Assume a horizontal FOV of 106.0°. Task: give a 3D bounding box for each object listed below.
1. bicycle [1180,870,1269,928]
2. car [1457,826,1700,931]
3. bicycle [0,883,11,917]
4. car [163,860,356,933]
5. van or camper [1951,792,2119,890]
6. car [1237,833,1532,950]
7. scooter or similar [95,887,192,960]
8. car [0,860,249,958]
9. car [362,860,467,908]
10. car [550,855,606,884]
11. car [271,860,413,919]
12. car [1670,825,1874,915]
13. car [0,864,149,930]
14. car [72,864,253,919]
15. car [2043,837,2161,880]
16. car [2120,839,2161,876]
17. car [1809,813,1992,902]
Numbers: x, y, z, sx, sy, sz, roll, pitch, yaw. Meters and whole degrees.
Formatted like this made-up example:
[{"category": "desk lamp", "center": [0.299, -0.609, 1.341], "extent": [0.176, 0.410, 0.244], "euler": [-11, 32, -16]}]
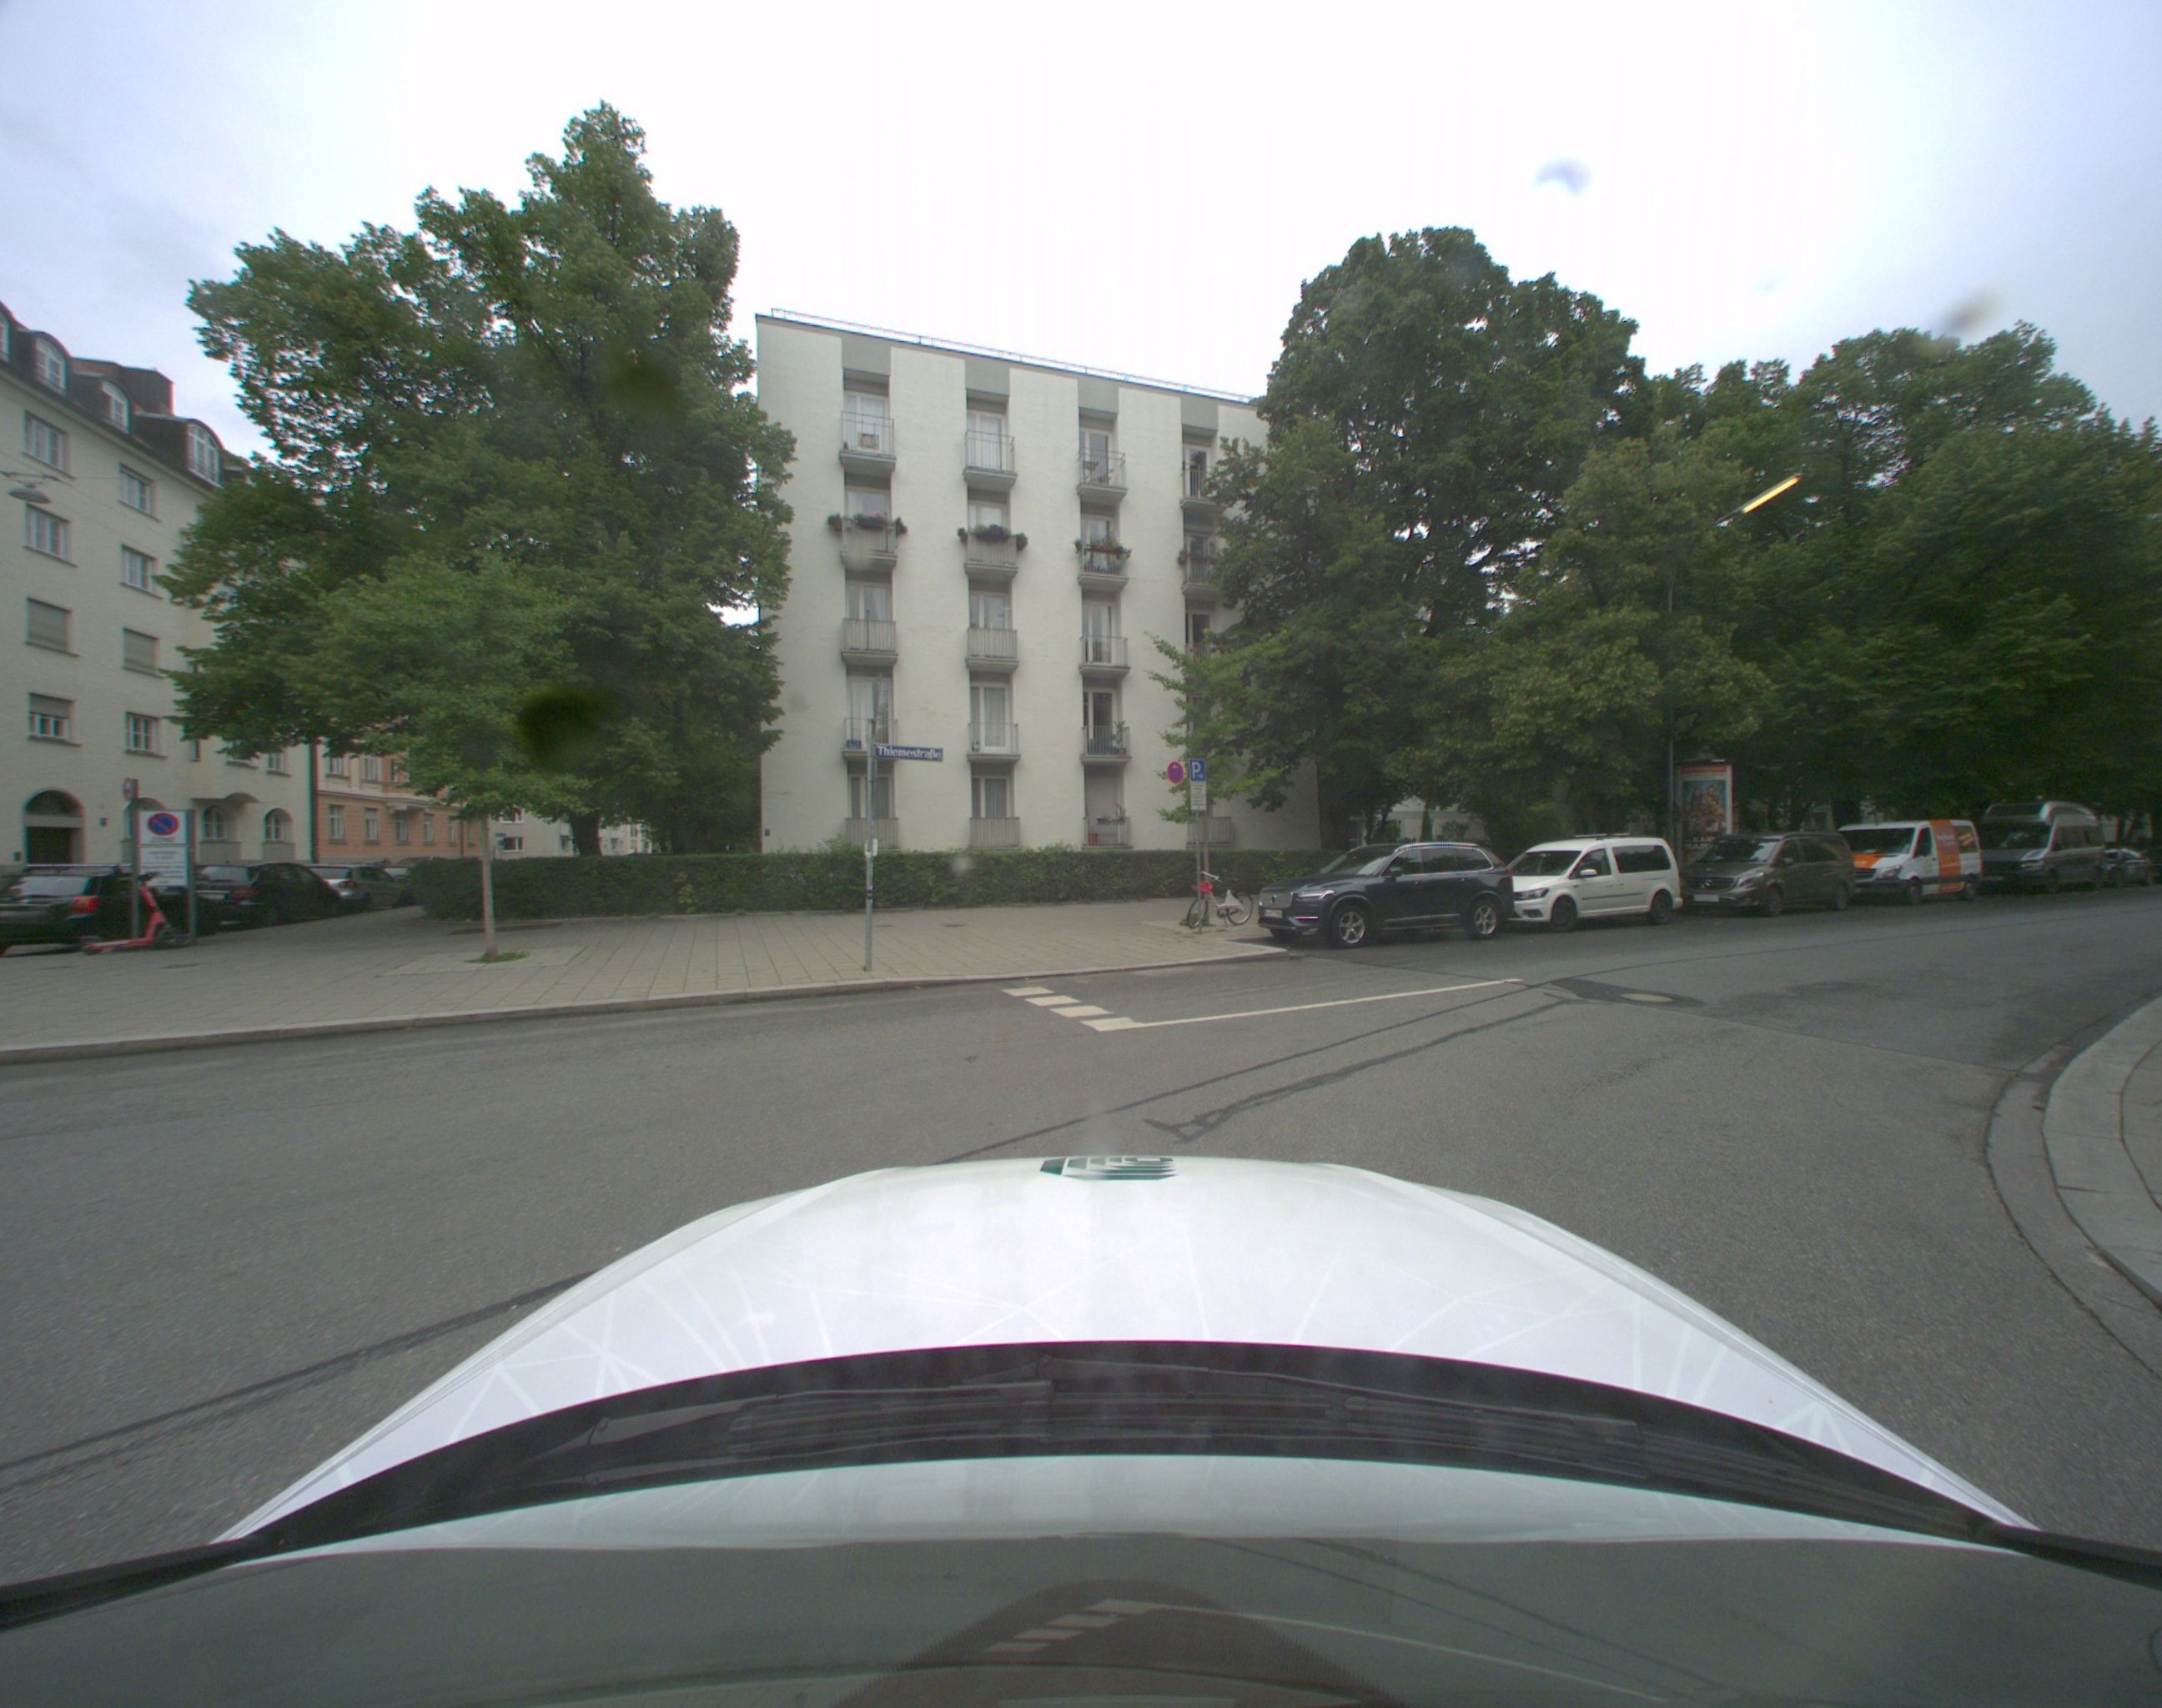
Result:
[{"category": "bicycle", "center": [2.881, 0.869, 16.277], "extent": [1.835, 1.049, 0.487], "euler": [-1, 0, -29]}, {"category": "car", "center": [10.286, 0.437, 16.802], "extent": [4.855, 1.918, 1.821], "euler": [-1, -1, -24]}, {"category": "bicycle", "center": [-34.318, 1.475, 25.166], "extent": [0.564, 1.049, 1.819], "euler": [-1, 0, -19]}, {"category": "car", "center": [-19.929, 0.941, 20.025], "extent": [1.801, 1.505, 4.202], "euler": [-2, 1, -23]}, {"category": "van or camper", "center": [31.088, -0.411, 26.512], "extent": [6.020, 2.945, 1.990], "euler": [-1, -1, -25]}, {"category": "car", "center": [5.445, 0.577, 14.595], "extent": [4.918, 1.792, 1.985], "euler": [-1, -1, -23]}, {"category": "scooter or similar", "center": [-15.202, 1.108, 13.233], "extent": [0.386, 1.088, 1.008], "euler": [-1, 0, 44]}, {"category": "car", "center": [-17.969, 0.914, 15.180], "extent": [1.827, 1.505, 4.388], "euler": [-2, 1, -23]}, {"category": "car", "center": [-24.007, 1.012, 29.495], "extent": [1.801, 1.505, 4.084], "euler": [-2, 1, -23]}, {"category": "car", "center": [-30.604, 0.920, 49.709], "extent": [1.839, 1.634, 3.800], "euler": [-2, 1, -15]}, {"category": "car", "center": [-21.757, 0.972, 24.201], "extent": [1.801, 1.505, 4.084], "euler": [-2, 1, -23]}, {"category": "car", "center": [16.697, 0.320, 19.621], "extent": [5.219, 1.933, 1.877], "euler": [-1, -1, -27]}, {"category": "car", "center": [-29.058, 1.126, 22.749], "extent": [1.983, 1.616, 4.679], "euler": [-1, 0, -21]}, {"category": "car", "center": [-30.579, 1.172, 27.359], "extent": [1.980, 1.581, 4.383], "euler": [-1, 0, -17]}, {"category": "car", "center": [36.516, 0.146, 29.073], "extent": [4.007, 1.416, 1.865], "euler": [-1, 0, -25]}, {"category": "car", "center": [41.740, 0.119, 31.003], "extent": [4.007, 1.347, 1.865], "euler": [-1, 0, -25]}, {"category": "car", "center": [22.946, 0.069, 22.777], "extent": [5.252, 2.272, 1.936], "euler": [-1, -1, -25]}]
